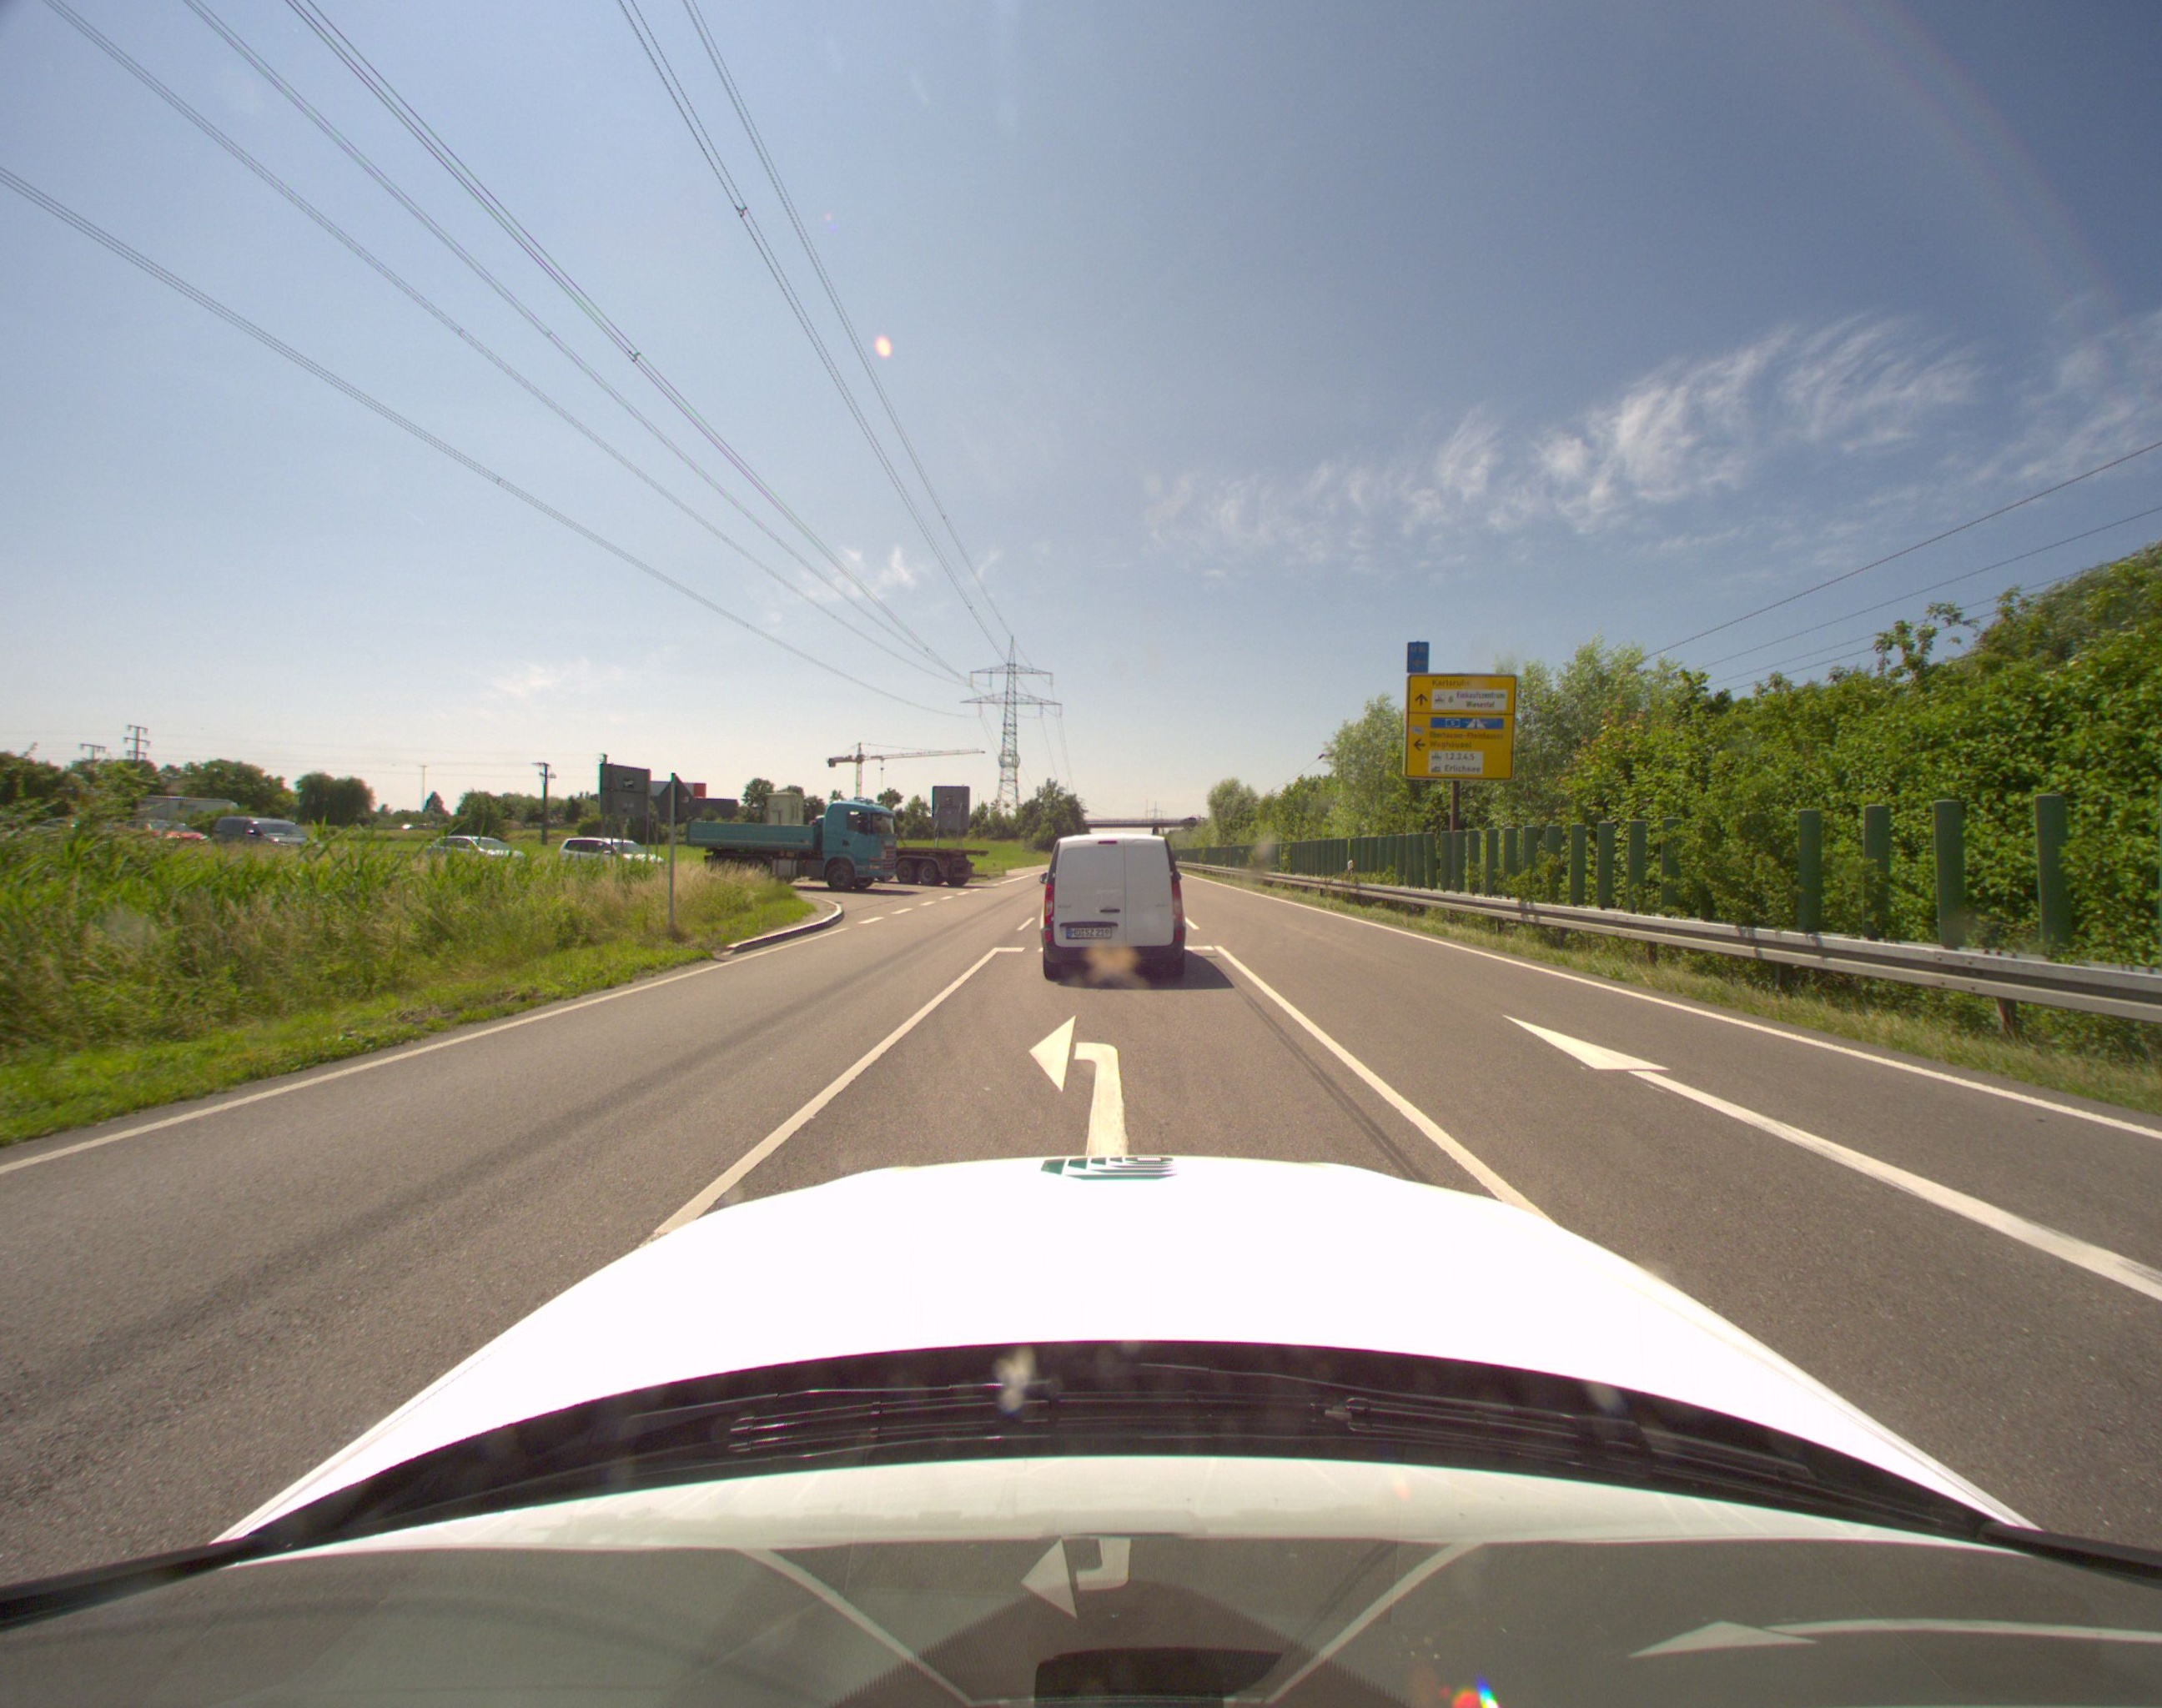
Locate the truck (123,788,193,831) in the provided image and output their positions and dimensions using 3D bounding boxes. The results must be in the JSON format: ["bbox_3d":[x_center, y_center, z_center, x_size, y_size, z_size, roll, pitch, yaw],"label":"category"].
[{"bbox_3d":[-113.730,-5.326,100.590,3.709,4.646,13.086,1,0,-40],"label":"truck"}]

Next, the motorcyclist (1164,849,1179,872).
[{"bbox_3d":[5.971,0.415,53.688,0.886,1.476,1.002,0,0,1],"label":"motorcyclist"}]

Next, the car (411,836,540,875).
[{"bbox_3d":[-24.530,0.053,33.034,4.401,1.470,1.724,1,0,13],"label":"car"}]

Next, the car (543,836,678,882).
[{"bbox_3d":[-18.442,0.170,31.994,4.506,1.612,1.976,1,0,16],"label":"car"}]

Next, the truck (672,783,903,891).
[{"bbox_3d":[-11.181,-0.638,31.429,7.868,3.734,2.501,2,0,4],"label":"truck"}]

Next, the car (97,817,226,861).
[{"bbox_3d":[-41.574,-0.681,36.866,4.438,1.849,1.923,1,0,13],"label":"car"}]

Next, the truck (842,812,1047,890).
[{"bbox_3d":[-6.431,-0.188,37.686,9.578,3.288,2.847,0,1,28],"label":"truck"}]

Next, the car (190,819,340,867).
[{"bbox_3d":[-35.123,-0.490,35.100,4.906,1.867,2.094,2,1,10],"label":"car"}]

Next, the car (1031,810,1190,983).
[{"bbox_3d":[0.403,0.487,11.390,1.820,1.971,4.002,-1,0,2],"label":"car"}]

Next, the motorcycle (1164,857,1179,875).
[{"bbox_3d":[5.984,0.796,53.906,0.787,1.157,1.902,0,0,1],"label":"motorcycle"}]

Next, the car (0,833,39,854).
[{"bbox_3d":[-87.389,-0.835,66.649,2.011,1.679,3.951,0,0,-43],"label":"car"}]
